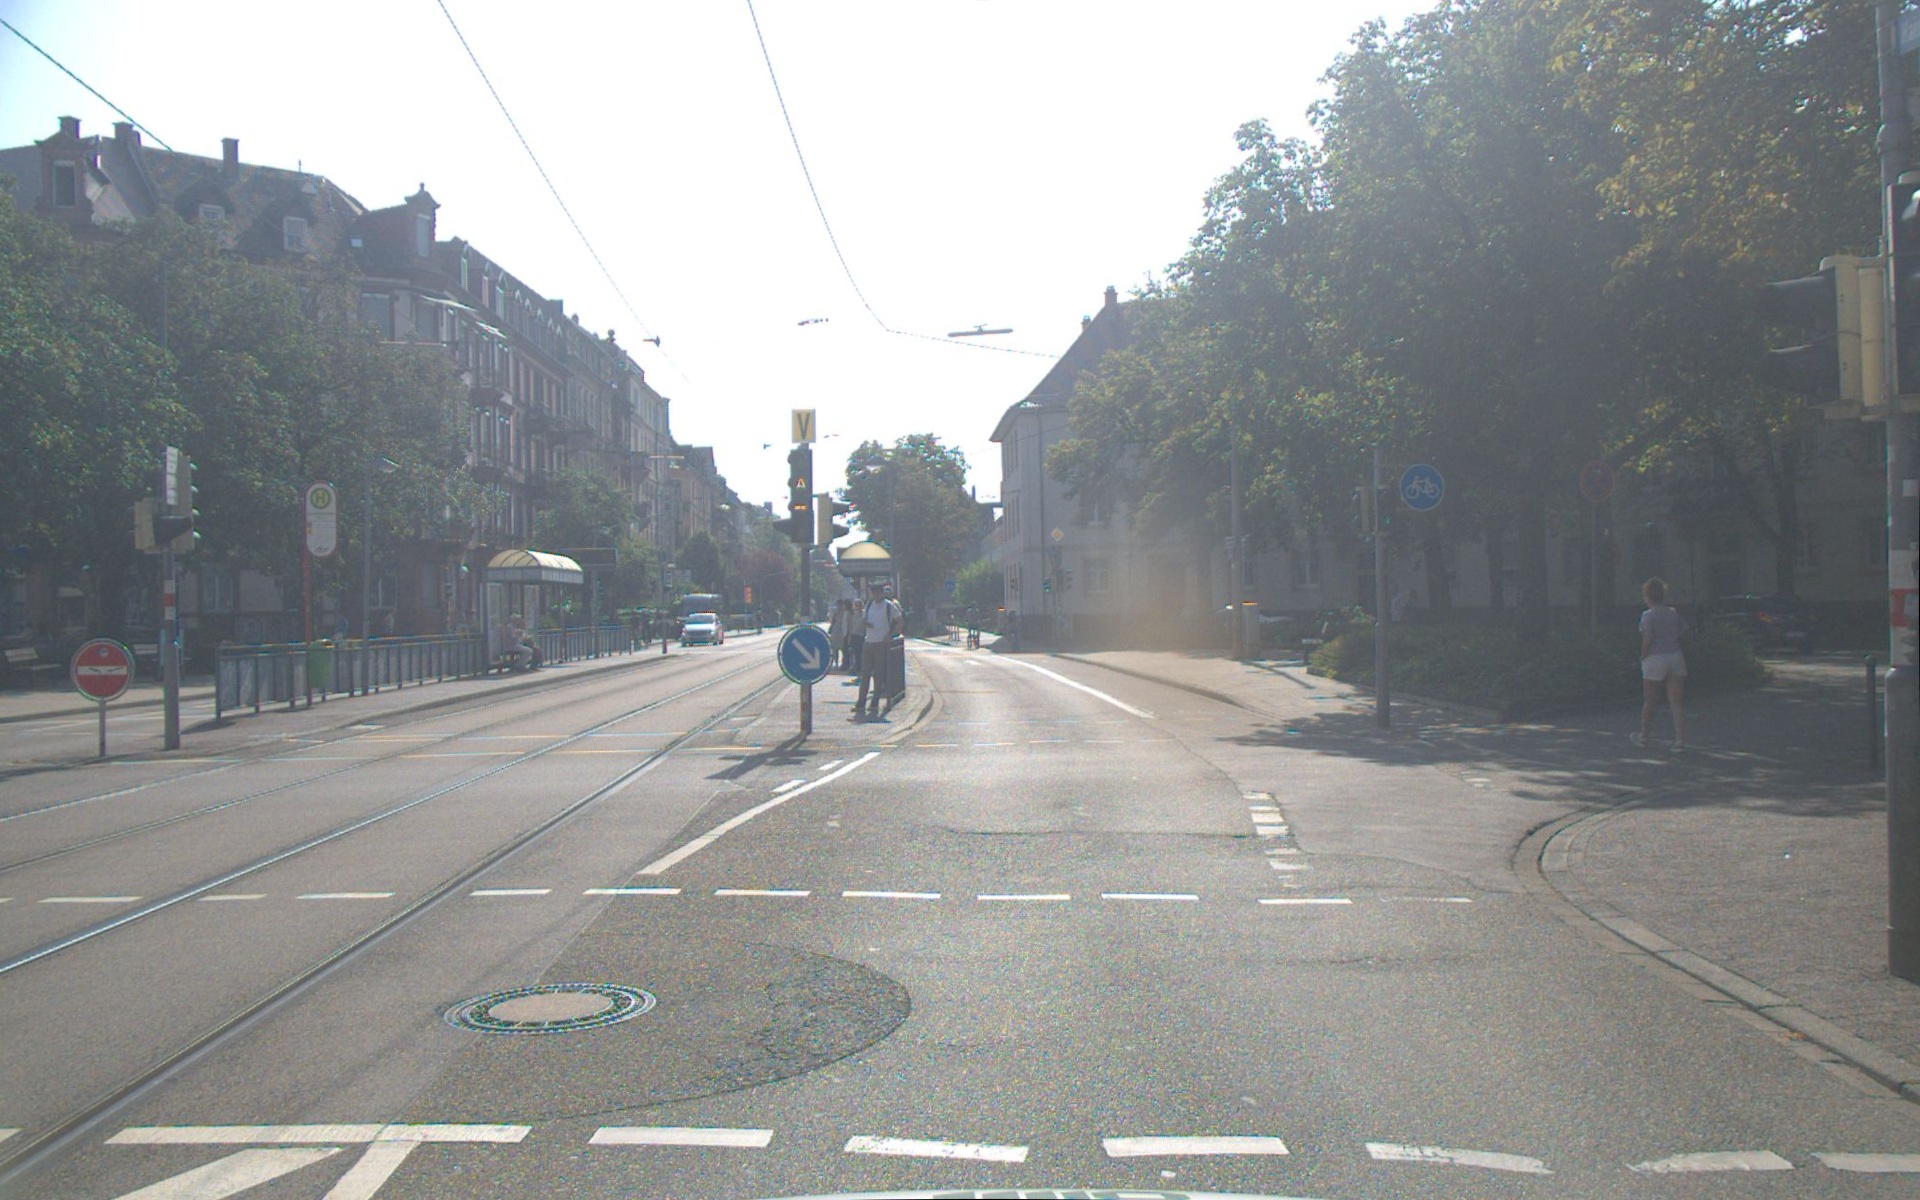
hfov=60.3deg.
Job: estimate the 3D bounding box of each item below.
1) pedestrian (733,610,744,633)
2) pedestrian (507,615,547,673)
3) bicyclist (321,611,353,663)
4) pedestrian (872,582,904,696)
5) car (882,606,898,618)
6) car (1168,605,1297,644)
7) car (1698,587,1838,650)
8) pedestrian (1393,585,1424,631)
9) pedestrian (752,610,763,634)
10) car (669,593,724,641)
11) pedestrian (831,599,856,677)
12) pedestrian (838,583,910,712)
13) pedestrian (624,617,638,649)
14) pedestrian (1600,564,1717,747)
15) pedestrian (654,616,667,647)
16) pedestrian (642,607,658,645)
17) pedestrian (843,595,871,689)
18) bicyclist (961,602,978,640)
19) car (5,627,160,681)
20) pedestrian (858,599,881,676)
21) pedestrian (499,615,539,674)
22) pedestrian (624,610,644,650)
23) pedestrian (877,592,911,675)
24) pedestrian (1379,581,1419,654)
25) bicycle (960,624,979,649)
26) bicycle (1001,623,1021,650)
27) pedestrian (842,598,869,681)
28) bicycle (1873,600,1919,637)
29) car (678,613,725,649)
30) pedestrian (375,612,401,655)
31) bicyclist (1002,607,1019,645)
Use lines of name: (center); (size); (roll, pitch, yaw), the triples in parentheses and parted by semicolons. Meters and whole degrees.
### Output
pedestrian: (-17.210, 1.692, 128.417); (0.736, 1.761, 0.769); (-1, -1, -11)
pedestrian: (-10.639, 1.069, 40.682); (0.812, 1.382, 0.775); (-1, -1, -7)
bicyclist: (-23.207, 1.376, 61.622); (0.981, 1.890, 0.485); (-1, -1, -41)
pedestrian: (-1.207, 0.642, 27.690); (0.494, 1.866, 0.534); (1, 2, -2)
car: (-10.780, 1.900, 255.031); (1.951, 1.814, 4.002); (0, -1, 5)
car: (9.939, 0.898, 60.440); (4.251, 1.343, 1.992); (-2, -1, 37)
car: (20.142, 0.450, 41.409); (1.815, 1.443, 4.002); (-1, 0, 5)
pedestrian: (17.679, 0.306, 65.235); (0.770, 1.771, 0.880); (-1, -1, -44)
pedestrian: (-15.094, 1.634, 123.500); (0.736, 1.761, 0.769); (-1, -1, -11)
car: (-15.713, 1.018, 98.953); (2.298, 2.708, 5.106); (-1, 0, 2)
pedestrian: (-2.716, 0.877, 38.575); (0.521, 1.790, 0.545); (1, 2, -1)
pedestrian: (-1.217, 0.656, 23.423); (0.687, 1.755, 0.746); (2, 2, 31)
pedestrian: (-18.219, 1.808, 91.525); (0.736, 1.761, 0.769); (-1, -1, -11)
pedestrian: (6.962, 0.544, 16.504); (0.736, 1.761, 0.769); (-1, -1, -11)
pedestrian: (-17.538, 1.838, 96.915); (0.736, 1.761, 0.769); (-1, -1, -11)
pedestrian: (-14.917, 1.247, 79.555); (0.736, 1.761, 0.769); (-1, -1, -11)
pedestrian: (-2.015, 0.816, 32.364); (0.494, 1.790, 0.534); (1, 2, -2)
bicyclist: (0.384, 0.852, 67.206); (0.616, 1.534, 0.678); (-1, 0, -4)
car: (-28.818, 1.755, 54.472); (4.261, 1.596, 1.987); (-1, -1, -21)
pedestrian: (-2.137, 0.885, 39.177); (0.494, 1.790, 0.534); (1, 2, -2)
pedestrian: (-10.580, 1.059, 39.707); (0.812, 1.382, 0.775); (-1, -1, -7)
pedestrian: (-14.764, 1.351, 74.981); (0.734, 1.761, 0.771); (-1, -1, 0)
pedestrian: (-1.456, 0.730, 36.583); (0.694, 1.790, 0.534); (1, 2, -2)
pedestrian: (10.924, 0.436, 41.145); (0.872, 1.771, 0.776); (-1, -1, 17)
bicycle: (0.392, 1.474, 67.203); (0.616, 0.995, 1.769); (-1, 0, -4)
bicycle: (1.927, 1.371, 62.567); (0.547, 0.995, 1.855); (-1, 0, -4)
pedestrian: (-2.295, 0.862, 36.363); (0.532, 1.790, 0.534); (1, 2, -2)
bicycle: (25.751, 0.496, 45.376); (0.416, 0.995, 1.554); (-1, 0, -5)
car: (-12.752, 1.495, 81.719); (1.765, 1.682, 3.641); (-1, 0, -1)
pedestrian: (-23.572, 1.387, 68.127); (0.764, 1.761, 0.741); (-1, -1, -41)
bicyclist: (1.910, 0.982, 62.584); (0.547, 1.441, 0.871); (-1, 0, -4)
